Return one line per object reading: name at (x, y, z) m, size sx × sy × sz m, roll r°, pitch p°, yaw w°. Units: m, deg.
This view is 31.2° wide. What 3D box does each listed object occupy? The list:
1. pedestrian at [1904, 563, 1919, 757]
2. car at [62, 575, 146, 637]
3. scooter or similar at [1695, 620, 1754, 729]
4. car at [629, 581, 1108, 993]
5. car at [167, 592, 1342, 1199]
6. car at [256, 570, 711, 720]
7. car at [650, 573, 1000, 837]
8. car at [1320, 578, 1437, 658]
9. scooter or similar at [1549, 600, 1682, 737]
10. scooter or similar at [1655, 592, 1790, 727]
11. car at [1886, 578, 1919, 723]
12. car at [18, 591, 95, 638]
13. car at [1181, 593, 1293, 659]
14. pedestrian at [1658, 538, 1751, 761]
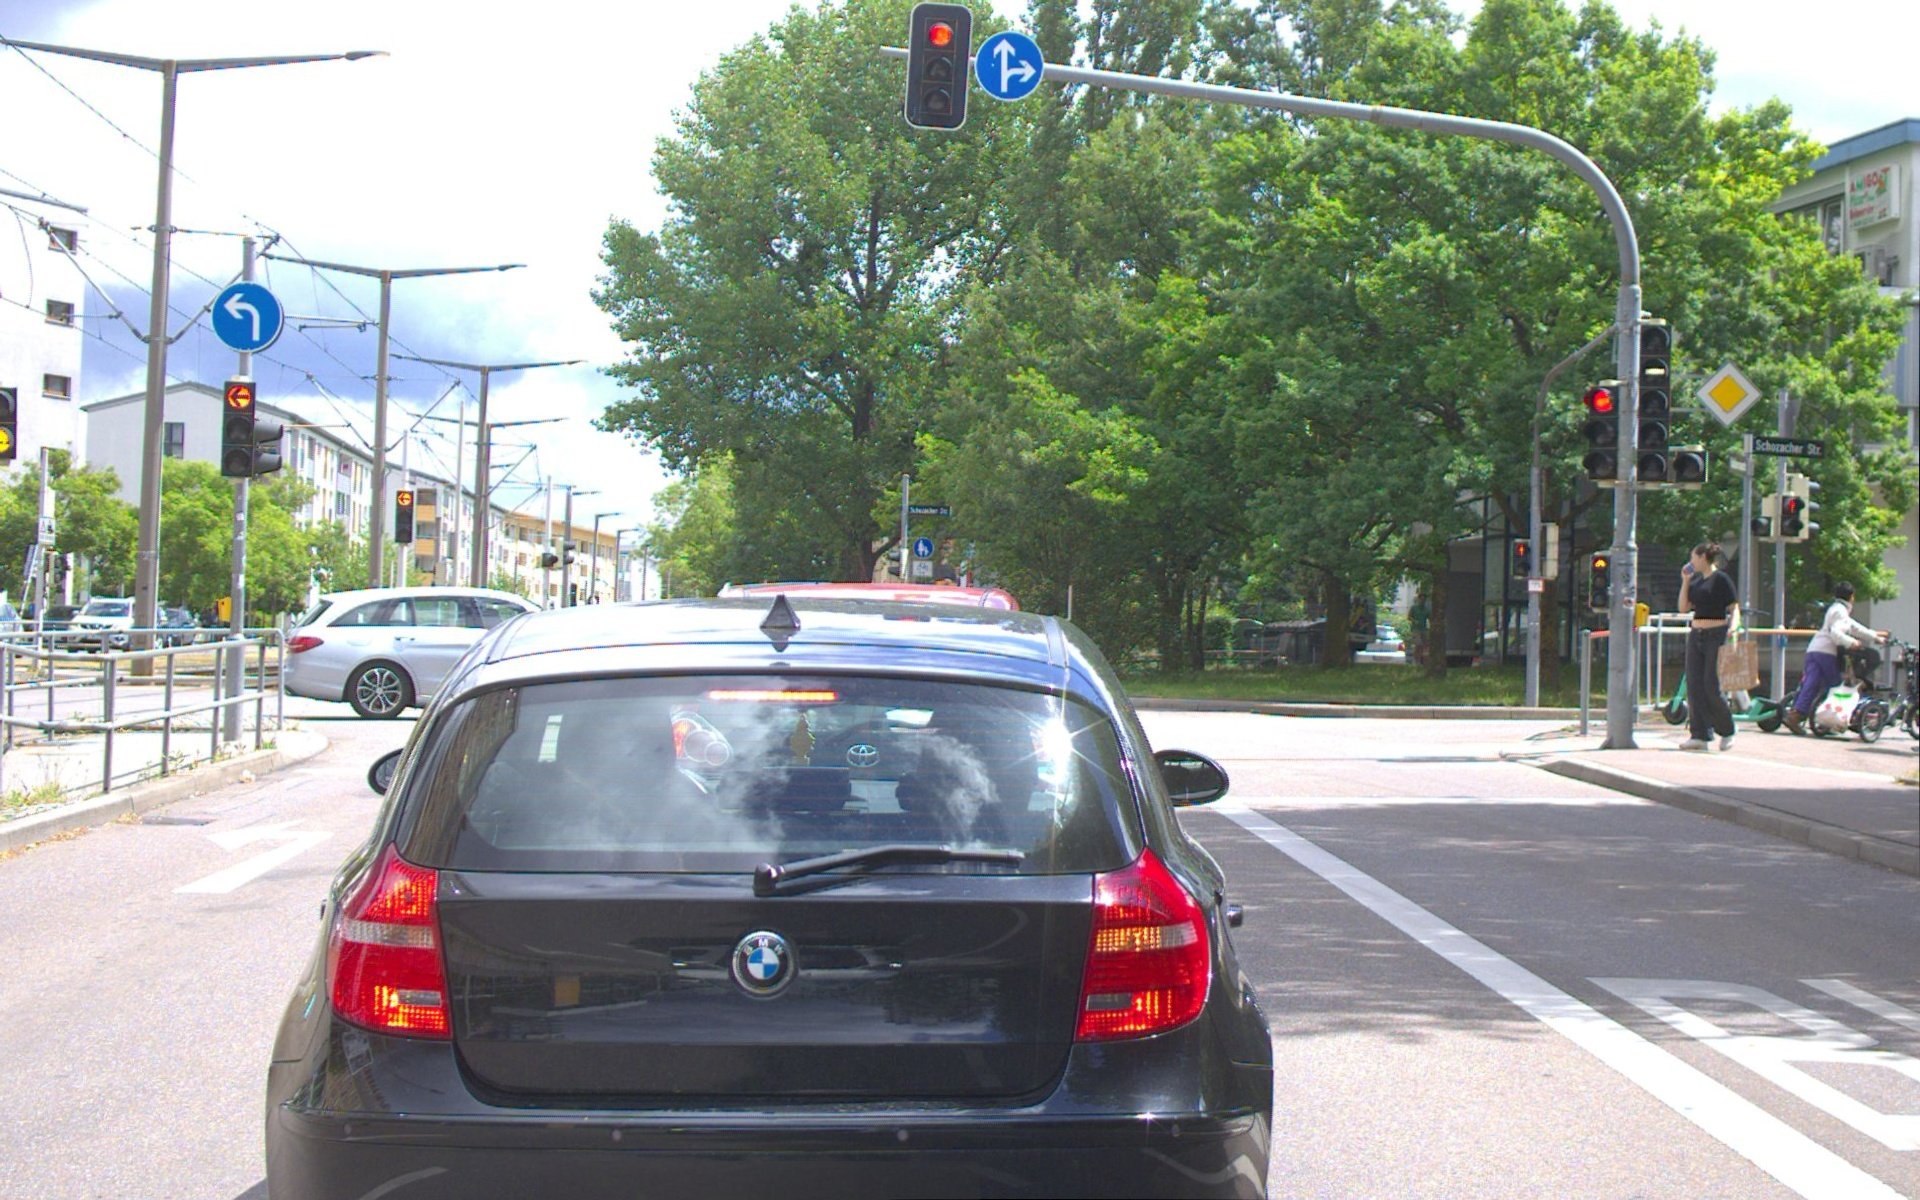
pedestrian at (9.046, 0.552, 31.566) m, size 0.636 × 1.760 × 0.518 m, roll 1°, pitch 0°, yaw 9°
car at (-25.266, 0.160, 101.529) m, size 1.591 × 1.750 × 3.775 m, roll 1°, pitch 0°, yaw -2°
scooter or similar at (7.771, 0.746, 34.916) m, size 0.548 × 1.060 × 1.261 m, roll 1°, pitch 0°, yaw 13°
car at (-0.335, 0.639, 13.632) m, size 1.638 × 1.395 × 3.420 m, roll 1°, pitch 0°, yaw -1°
car at (-0.323, 0.705, 6.729) m, size 1.700 × 1.395 × 3.420 m, roll 1°, pitch 0°, yaw -1°
car at (-5.204, 0.482, 37.714) m, size 4.789 × 1.517 × 2.000 m, roll 1°, pitch 0°, yaw -8°
car at (-0.765, 0.560, 21.134) m, size 1.900 × 1.417 × 4.539 m, roll 1°, pitch 0°, yaw -1°
car at (10.149, 0.408, 83.596) m, size 1.726 × 1.865 × 4.001 m, roll 1°, pitch 0°, yaw -9°
scooter or similar at (6.034, 0.626, 31.678) m, size 1.110 × 1.231 × 0.539 m, roll 1°, pitch 0°, yaw 2°
scooter or similar at (7.338, 0.565, 33.099) m, size 1.150 × 1.268 × 0.555 m, roll 1°, pitch 0°, yaw -1°
car at (15.596, 0.685, 48.367) m, size 4.534 × 2.007 × 2.000 m, roll 0°, pitch 0°, yaw -8°
car at (-29.387, 0.458, 111.920) m, size 1.591 × 1.469 × 3.775 m, roll 1°, pitch 0°, yaw -2°
car at (7.277, 0.659, 90.684) m, size 1.862 × 1.656 × 4.001 m, roll 1°, pitch 0°, yaw -11°
pedestrian at (6.327, 0.414, 29.226) m, size 0.636 × 1.870 × 0.518 m, roll 1°, pitch 0°, yaw -1°
